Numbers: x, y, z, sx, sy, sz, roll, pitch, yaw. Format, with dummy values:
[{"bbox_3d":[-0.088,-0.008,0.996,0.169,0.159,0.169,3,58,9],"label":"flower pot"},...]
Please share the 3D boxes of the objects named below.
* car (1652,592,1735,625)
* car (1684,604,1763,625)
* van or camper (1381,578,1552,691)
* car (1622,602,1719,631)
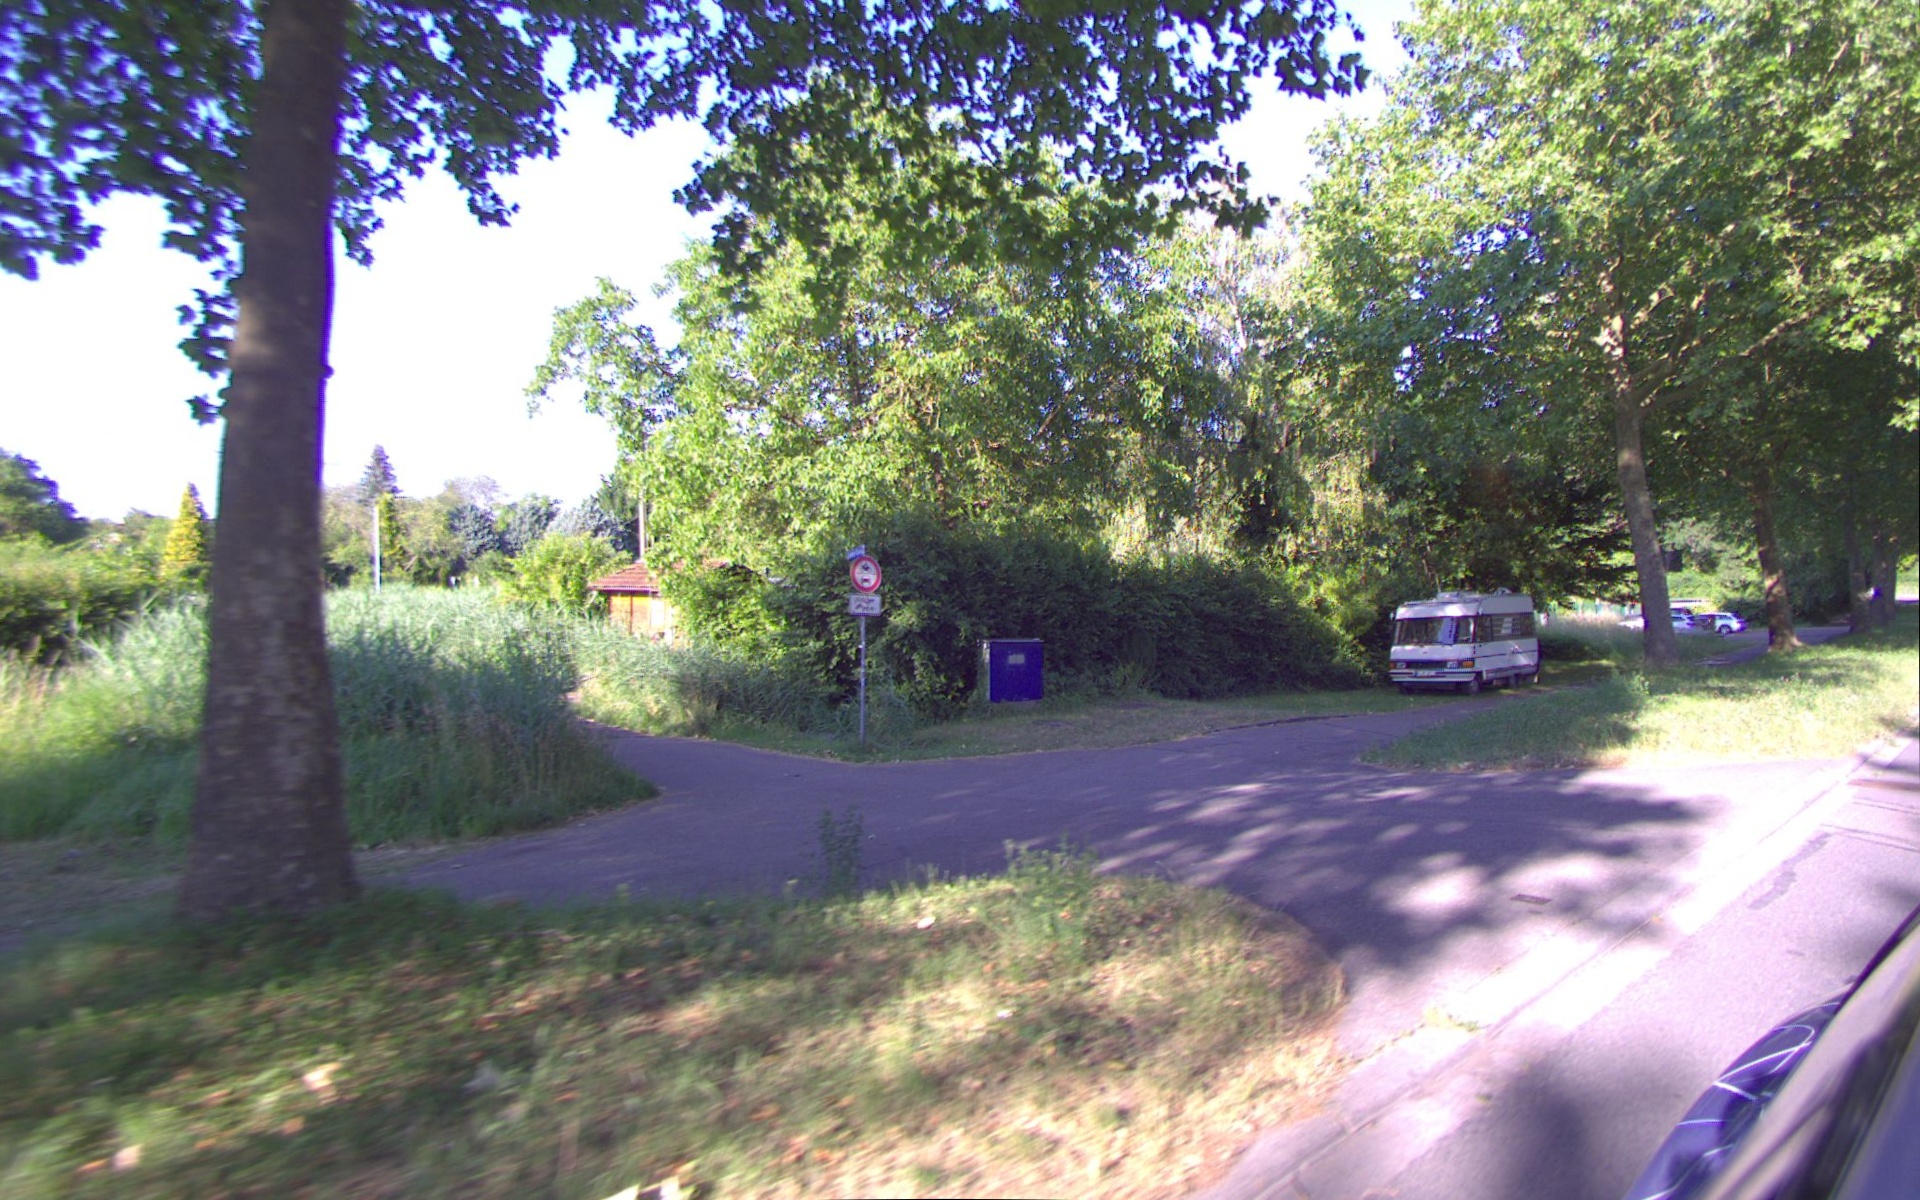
[{"bbox_3d":[48.080,0.552,66.423,1.962,2.039,3.999,-1,0,-35],"label":"car"},{"bbox_3d":[52.796,0.992,70.050,1.962,1.404,3.999,-1,0,-35],"label":"car"},{"bbox_3d":[14.182,0.830,28.163,5.589,2.835,2.383,-1,0,-42],"label":"van or camper"},{"bbox_3d":[43.726,1.003,62.362,1.962,1.691,4.515,-1,0,-35],"label":"car"}]
